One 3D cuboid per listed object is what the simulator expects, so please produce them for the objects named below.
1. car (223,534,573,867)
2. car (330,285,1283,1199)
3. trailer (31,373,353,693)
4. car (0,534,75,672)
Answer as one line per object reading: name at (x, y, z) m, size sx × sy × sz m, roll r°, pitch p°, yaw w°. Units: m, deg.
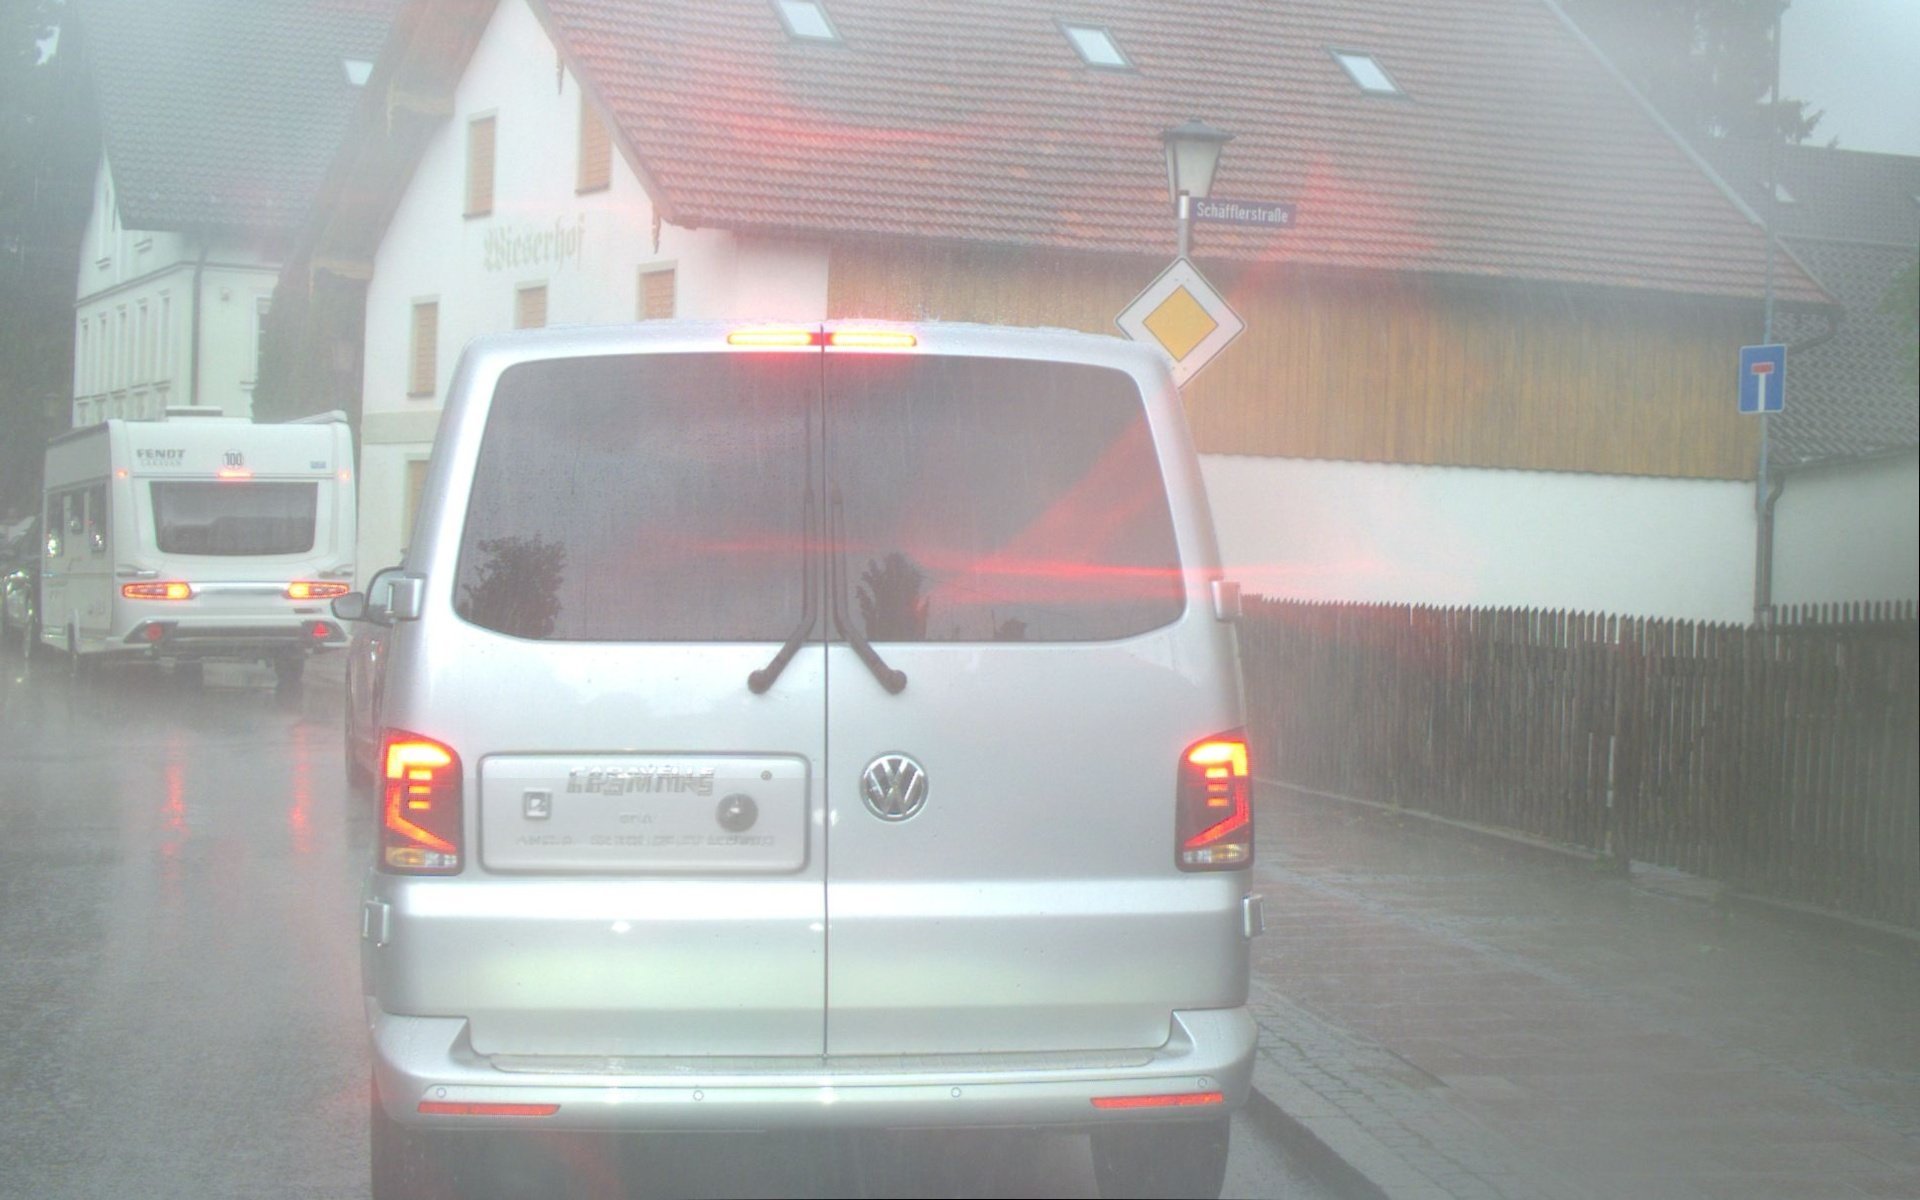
car at (-3.152, 0.454, 19.567) m, size 1.708 × 1.578 × 4.687 m, roll -1°, pitch 2°, yaw -8°
car at (-0.307, 0.361, 8.978) m, size 1.776 × 1.956 × 5.074 m, roll 0°, pitch 1°, yaw 0°
trailer at (-7.785, -0.652, 34.336) m, size 2.270 × 2.894 × 6.134 m, roll 0°, pitch 1°, yaw -21°
car at (-14.955, -0.026, 52.055) m, size 2.168 × 1.892 × 5.016 m, roll 2°, pitch 1°, yaw -24°
